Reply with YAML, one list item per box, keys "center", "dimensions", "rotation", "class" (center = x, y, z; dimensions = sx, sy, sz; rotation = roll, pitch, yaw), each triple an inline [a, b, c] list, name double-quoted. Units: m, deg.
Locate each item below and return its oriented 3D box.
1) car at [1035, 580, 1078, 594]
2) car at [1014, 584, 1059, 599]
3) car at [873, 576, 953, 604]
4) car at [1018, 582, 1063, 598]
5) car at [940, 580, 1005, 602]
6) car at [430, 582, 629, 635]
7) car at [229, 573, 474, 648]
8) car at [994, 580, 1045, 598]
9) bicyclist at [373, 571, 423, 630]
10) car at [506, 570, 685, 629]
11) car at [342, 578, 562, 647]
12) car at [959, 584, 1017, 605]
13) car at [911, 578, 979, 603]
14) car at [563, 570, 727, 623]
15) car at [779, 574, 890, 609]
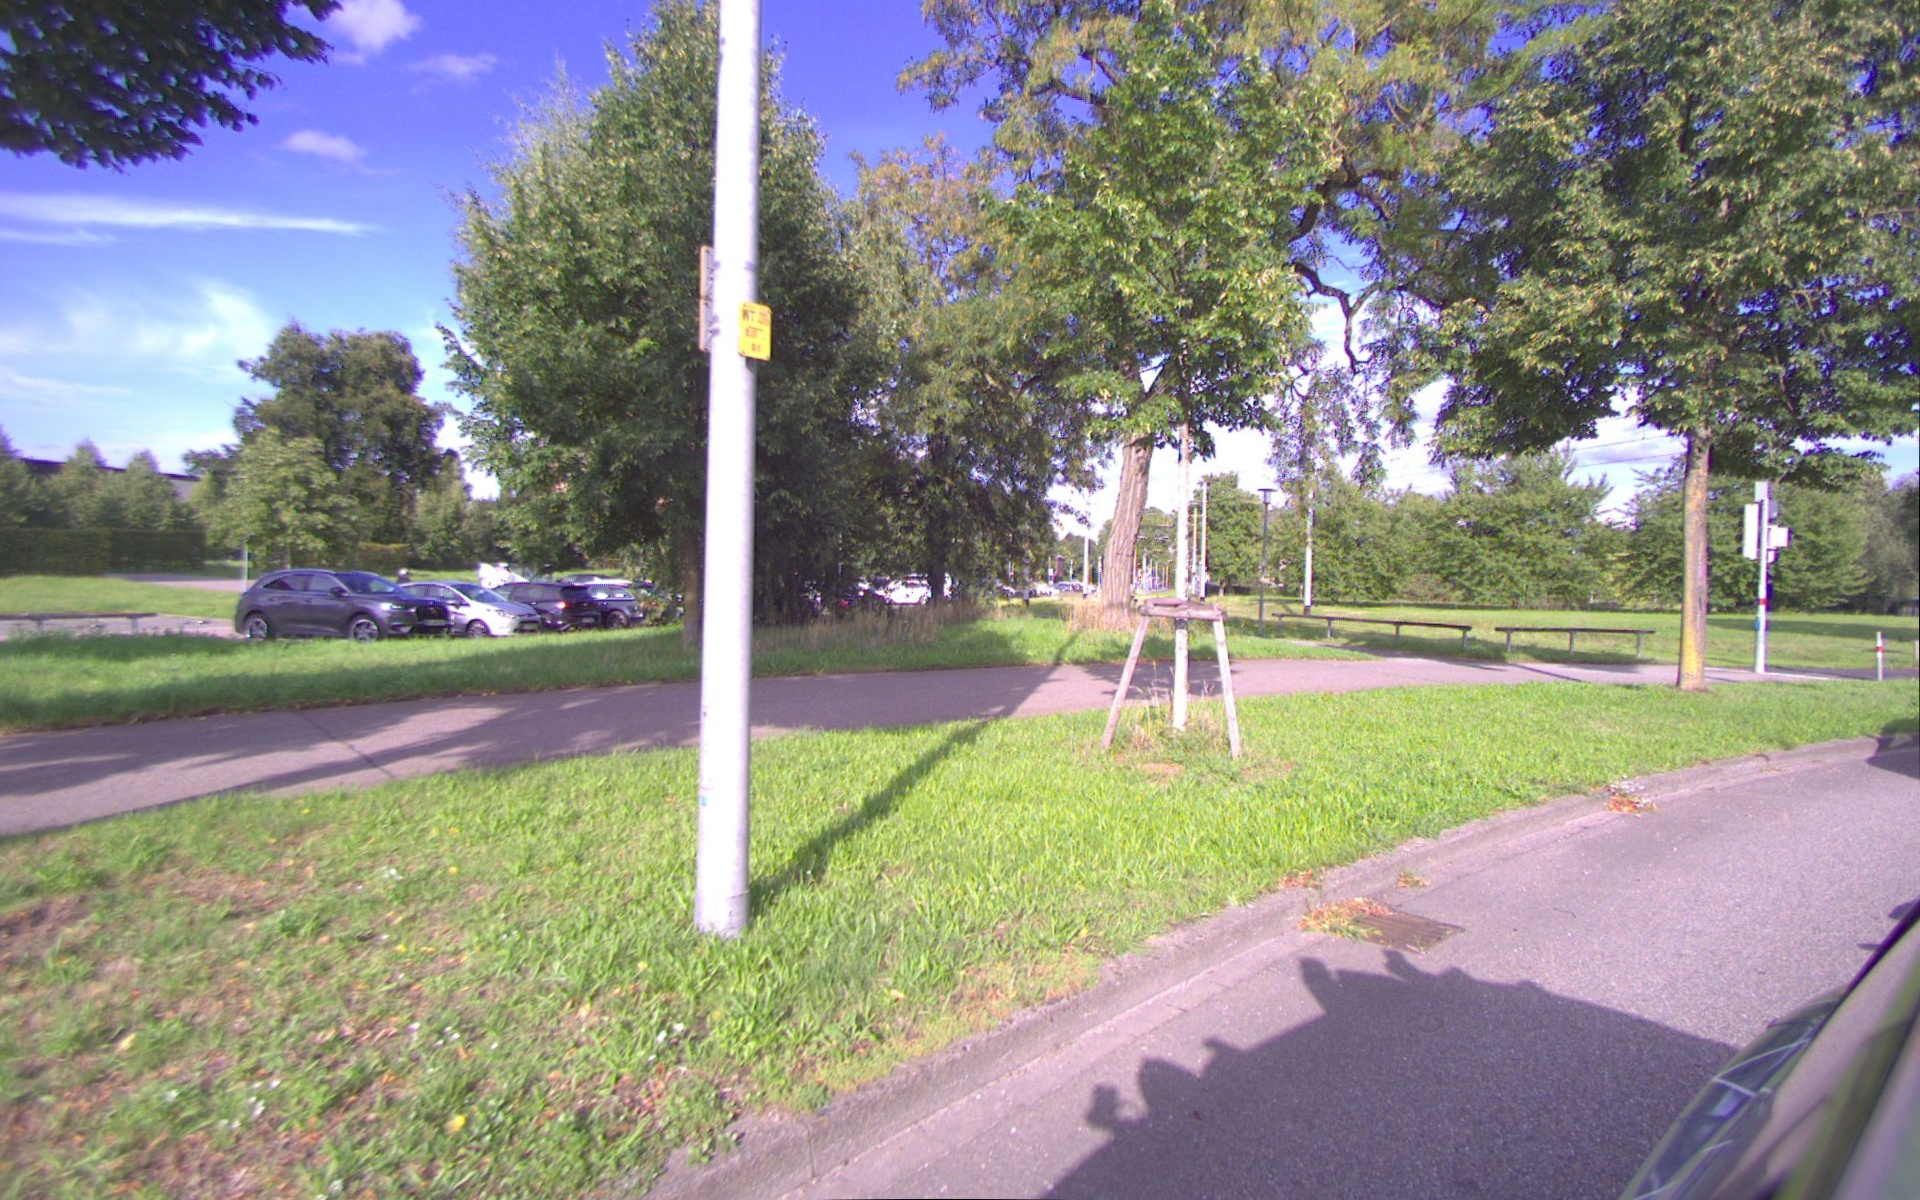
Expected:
- center: [10.809, -1.478, 113.521]
  dimensions: [4.425, 1.560, 1.842]
  rotation: [1, 1, 27]
  class: "car"
- center: [7.970, -0.912, 105.314]
  dimensions: [4.407, 1.494, 1.790]
  rotation: [1, 1, 17]
  class: "car"
- center: [-2.749, -0.620, 59.469]
  dimensions: [4.395, 1.534, 1.857]
  rotation: [1, 1, 9]
  class: "car"
- center: [8.598, -1.074, 108.532]
  dimensions: [4.425, 1.560, 1.842]
  rotation: [1, 1, 27]
  class: "car"
- center: [0.914, -0.663, 74.207]
  dimensions: [4.412, 1.523, 1.849]
  rotation: [1, 1, 20]
  class: "car"
- center: [-11.167, 0.182, 26.286]
  dimensions: [4.667, 1.222, 1.852]
  rotation: [1, 1, 16]
  class: "car"
- center: [-12.586, 0.166, 20.987]
  dimensions: [4.452, 1.398, 1.852]
  rotation: [1, 1, 16]
  class: "car"
- center: [5.509, -1.028, 93.344]
  dimensions: [4.412, 1.560, 1.848]
  rotation: [1, 1, 20]
  class: "car"
- center: [-15.497, -0.002, 27.930]
  dimensions: [0.763, 1.594, 0.953]
  rotation: [1, 1, 23]
  class: "bicyclist"
- center: [-10.449, -0.050, 29.047]
  dimensions: [4.667, 1.534, 1.852]
  rotation: [1, 1, 16]
  class: "car"
- center: [-11.977, 0.248, 23.895]
  dimensions: [4.667, 1.458, 1.852]
  rotation: [1, 1, 16]
  class: "car"
- center: [2.265, -0.460, 81.889]
  dimensions: [4.412, 1.534, 1.792]
  rotation: [1, 1, 20]
  class: "car"
- center: [-0.988, -0.662, 67.339]
  dimensions: [4.067, 1.534, 2.020]
  rotation: [1, 1, 24]
  class: "car"
- center: [-9.817, -0.143, 31.591]
  dimensions: [4.667, 1.534, 1.852]
  rotation: [1, 1, 16]
  class: "car"
- center: [-5.907, -0.433, 47.808]
  dimensions: [4.876, 1.534, 1.852]
  rotation: [1, 1, 16]
  class: "car"
